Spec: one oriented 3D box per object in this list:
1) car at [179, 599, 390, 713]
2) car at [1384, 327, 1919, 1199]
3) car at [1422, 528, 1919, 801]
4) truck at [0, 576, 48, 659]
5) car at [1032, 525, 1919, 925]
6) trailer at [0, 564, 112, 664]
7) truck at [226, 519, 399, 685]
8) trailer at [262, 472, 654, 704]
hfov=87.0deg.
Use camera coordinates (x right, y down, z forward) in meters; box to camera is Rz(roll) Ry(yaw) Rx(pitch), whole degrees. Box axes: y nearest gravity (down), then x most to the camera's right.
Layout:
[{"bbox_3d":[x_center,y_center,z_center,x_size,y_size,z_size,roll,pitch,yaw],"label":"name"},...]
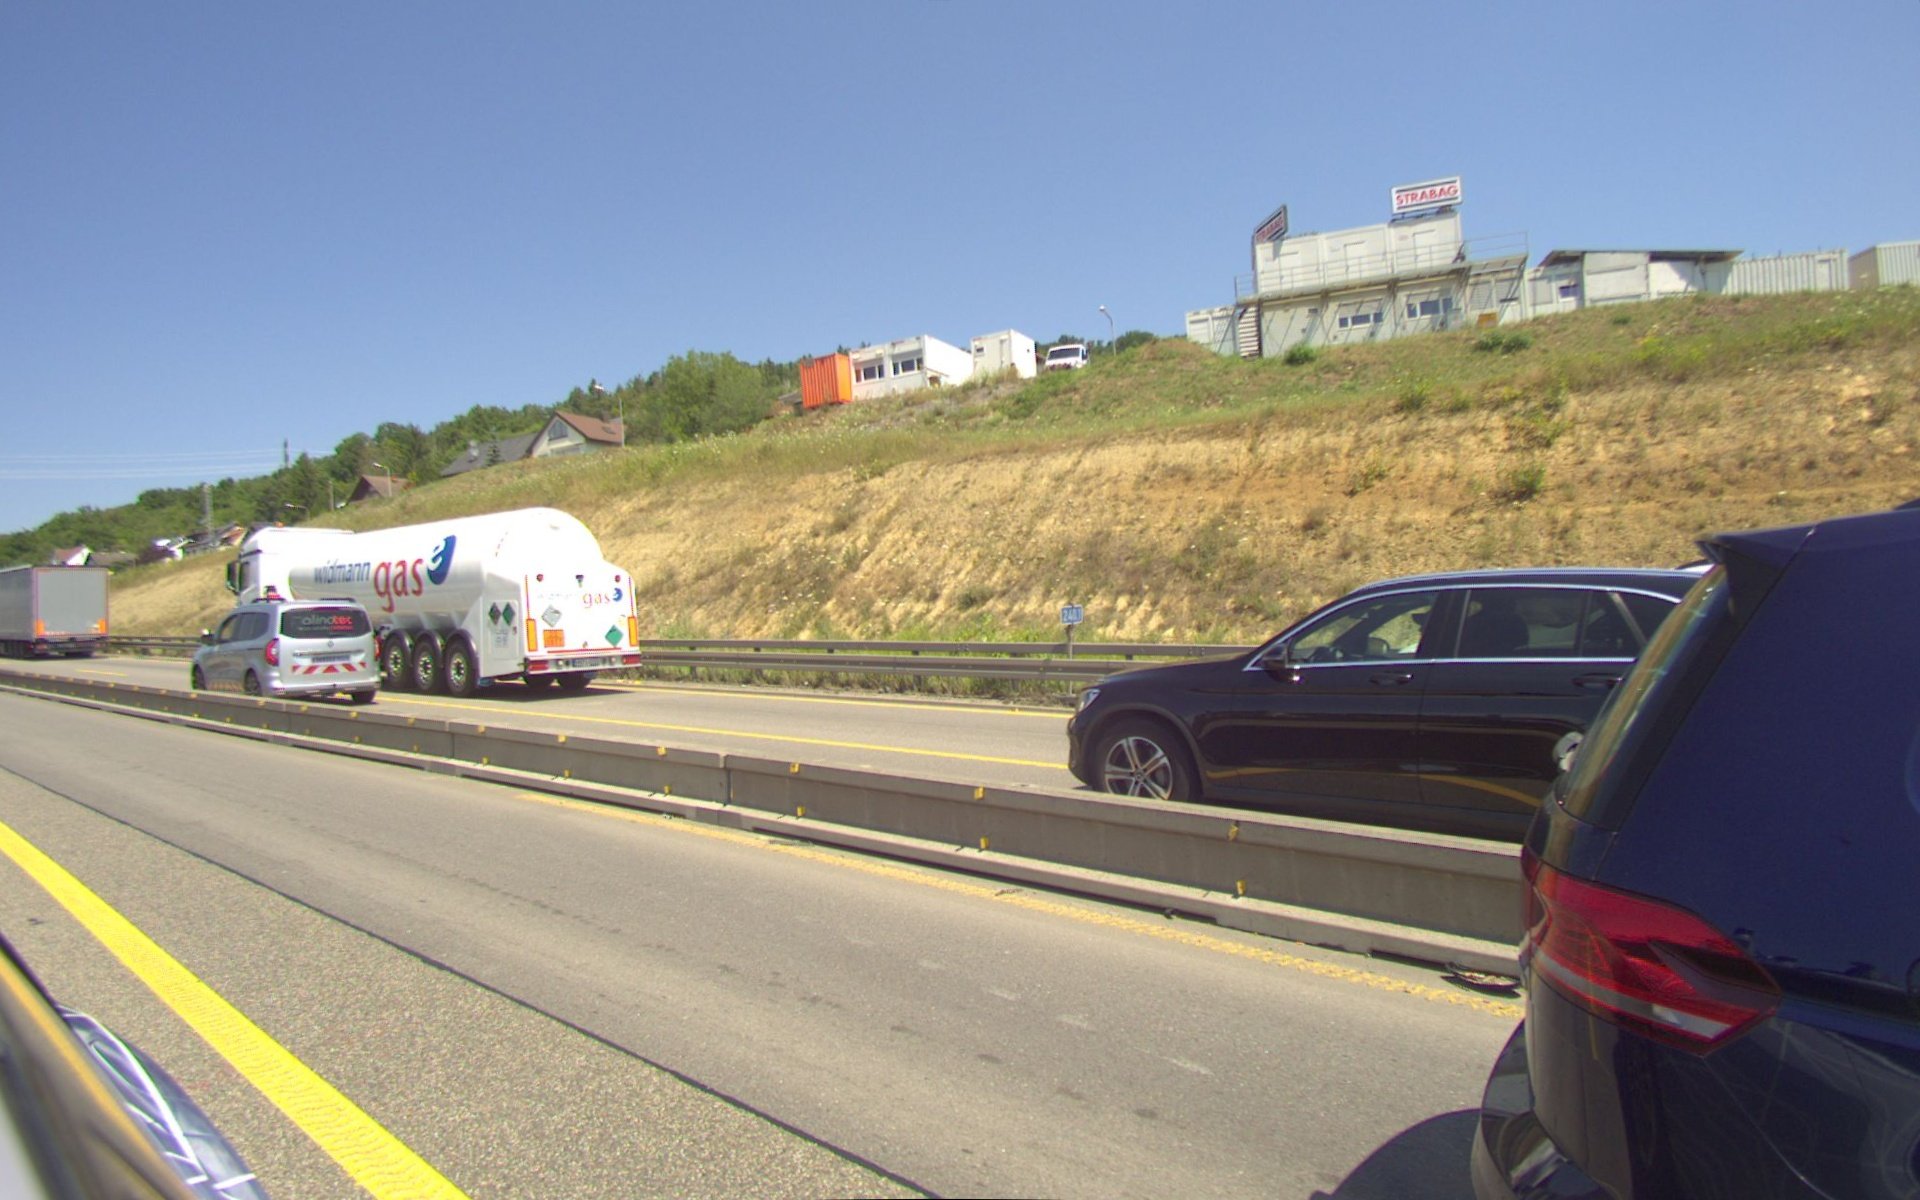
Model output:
[{"bbox_3d":[-11.953,0.923,17.790,4.477,1.758,1.861,-2,-2,39],"label":"car"},{"bbox_3d":[2.930,0.492,0.502,4.650,1.731,1.757,-3,-1,42],"label":"car"},{"bbox_3d":[6.183,0.438,7.725,4.530,1.776,1.774,-2,-1,38],"label":"car"},{"bbox_3d":[-48.189,0.907,50.946,3.949,4.080,2.673,-2,-1,38],"label":"truck"},{"bbox_3d":[2.888,0.545,6.076,4.728,1.624,1.773,-2,0,39],"label":"car"},{"bbox_3d":[-42.614,0.728,46.571,13.682,4.055,2.672,-2,0,38],"label":"trailer"},{"bbox_3d":[-16.381,0.074,25.576,3.762,3.830,2.565,-2,-1,38],"label":"truck"},{"bbox_3d":[-11.141,-0.070,21.405,11.902,3.830,2.565,-2,0,39],"label":"trailer"}]
